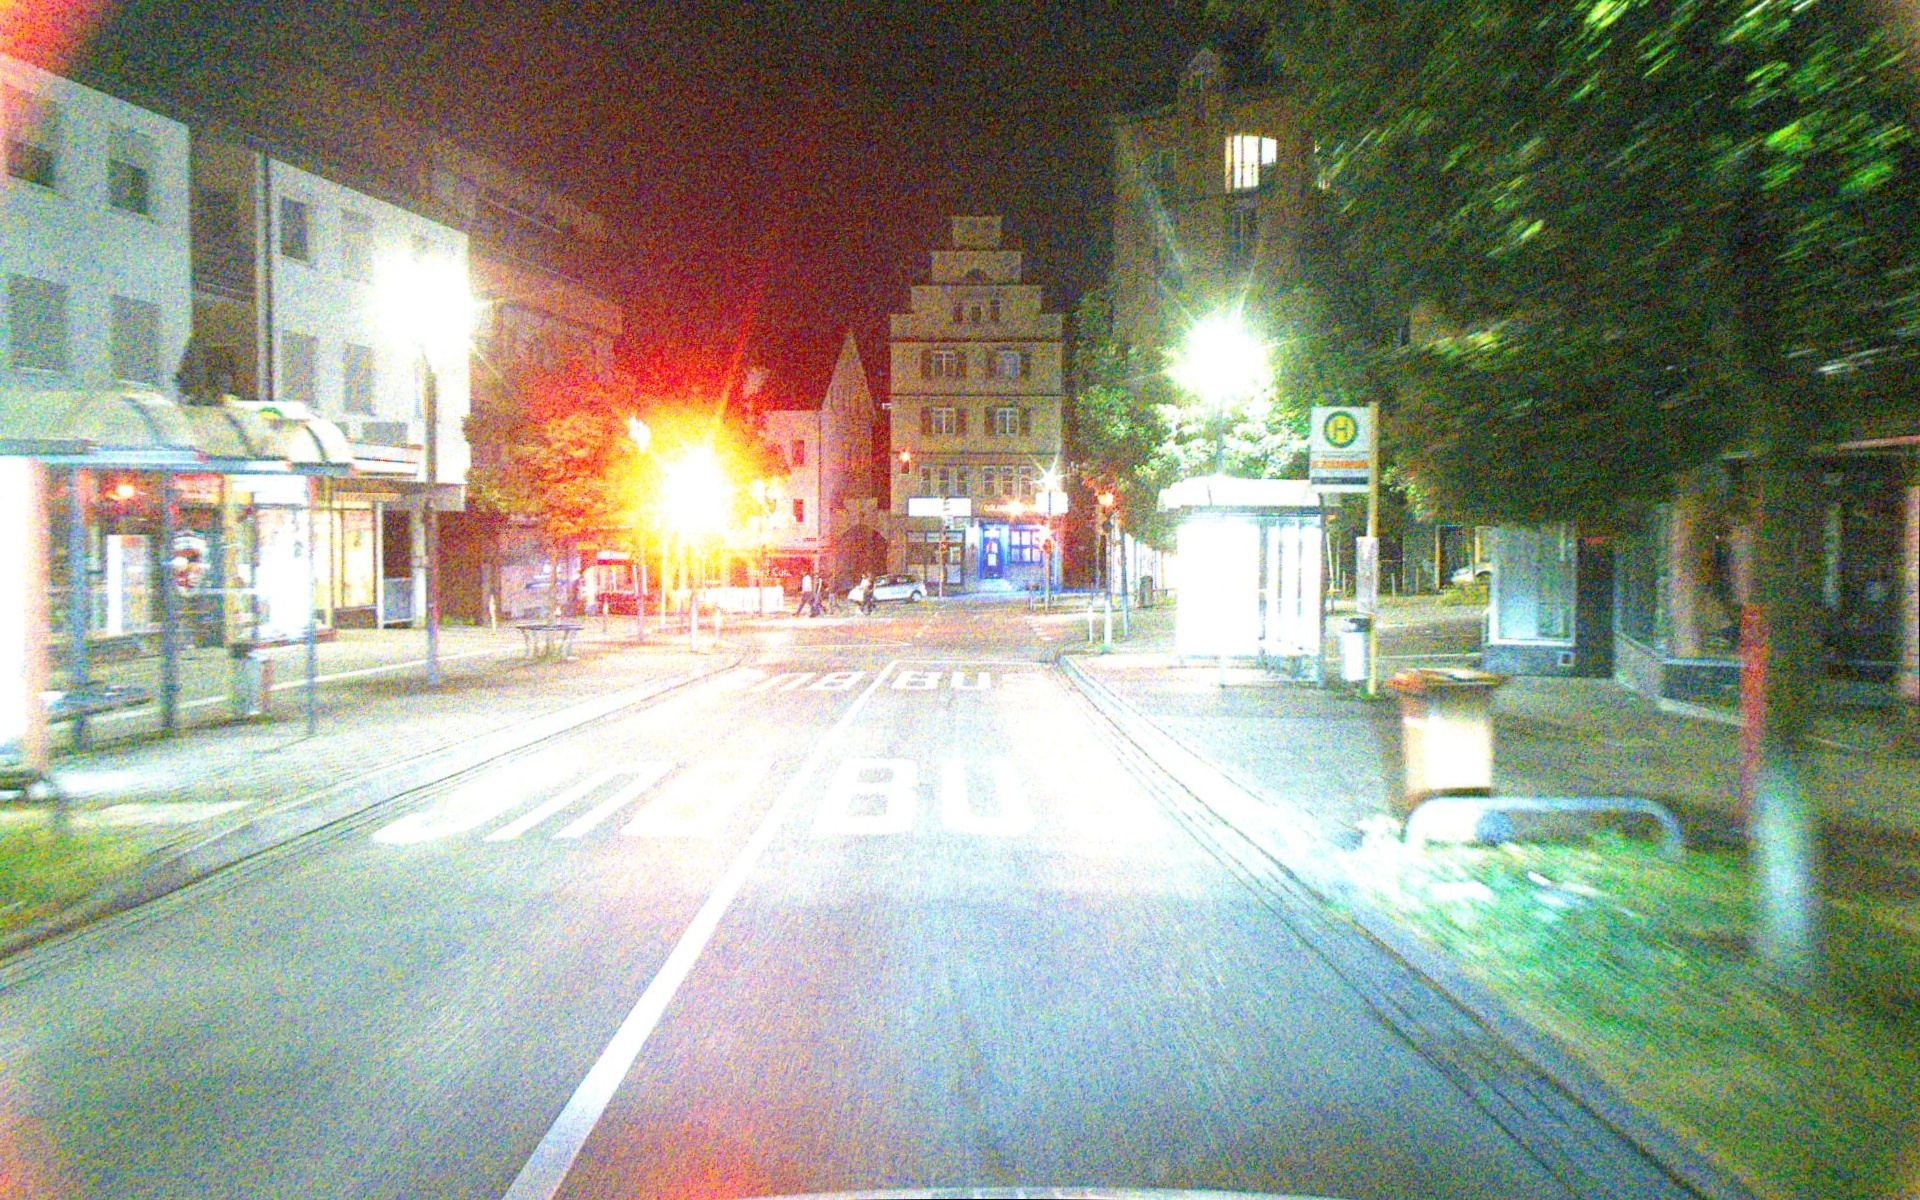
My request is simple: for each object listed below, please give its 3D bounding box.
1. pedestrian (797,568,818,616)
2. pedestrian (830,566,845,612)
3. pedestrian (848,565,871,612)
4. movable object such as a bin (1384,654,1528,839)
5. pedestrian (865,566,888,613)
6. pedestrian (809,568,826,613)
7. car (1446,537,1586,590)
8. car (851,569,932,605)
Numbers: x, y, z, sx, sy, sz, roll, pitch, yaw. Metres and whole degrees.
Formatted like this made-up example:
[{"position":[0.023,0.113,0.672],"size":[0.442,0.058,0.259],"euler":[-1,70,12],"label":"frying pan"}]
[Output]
[{"position":[-5.934,-0.305,64.419],"size":[0.701,1.827,0.570],"euler":[1,-1,5],"label":"pedestrian"},{"position":[-4.838,-0.432,65.374],"size":[0.556,1.827,0.717],"euler":[1,-1,-5],"label":"pedestrian"},{"position":[-3.963,-0.452,65.402],"size":[0.564,1.827,0.708],"euler":[2,-1,-40],"label":"pedestrian"},{"position":[2.682,0.778,8.978],"size":[0.514,0.953,0.628],"euler":[1,-1,-11],"label":"movable object such as a bin"},{"position":[-3.281,-0.405,64.960],"size":[0.723,1.827,0.715],"euler":[1,-1,-17],"label":"pedestrian"},{"position":[-5.819,-0.371,67.589],"size":[0.558,1.827,0.716],"euler":[1,-1,-13],"label":"pedestrian"},{"position":[17.817,-1.179,53.157],"size":[3.956,1.477,1.827],"euler":[-3,1,7],"label":"car"},{"position":[-3.398,-0.638,81.940],"size":[3.694,1.646,1.826],"euler":[1,-1,-18],"label":"car"}]
